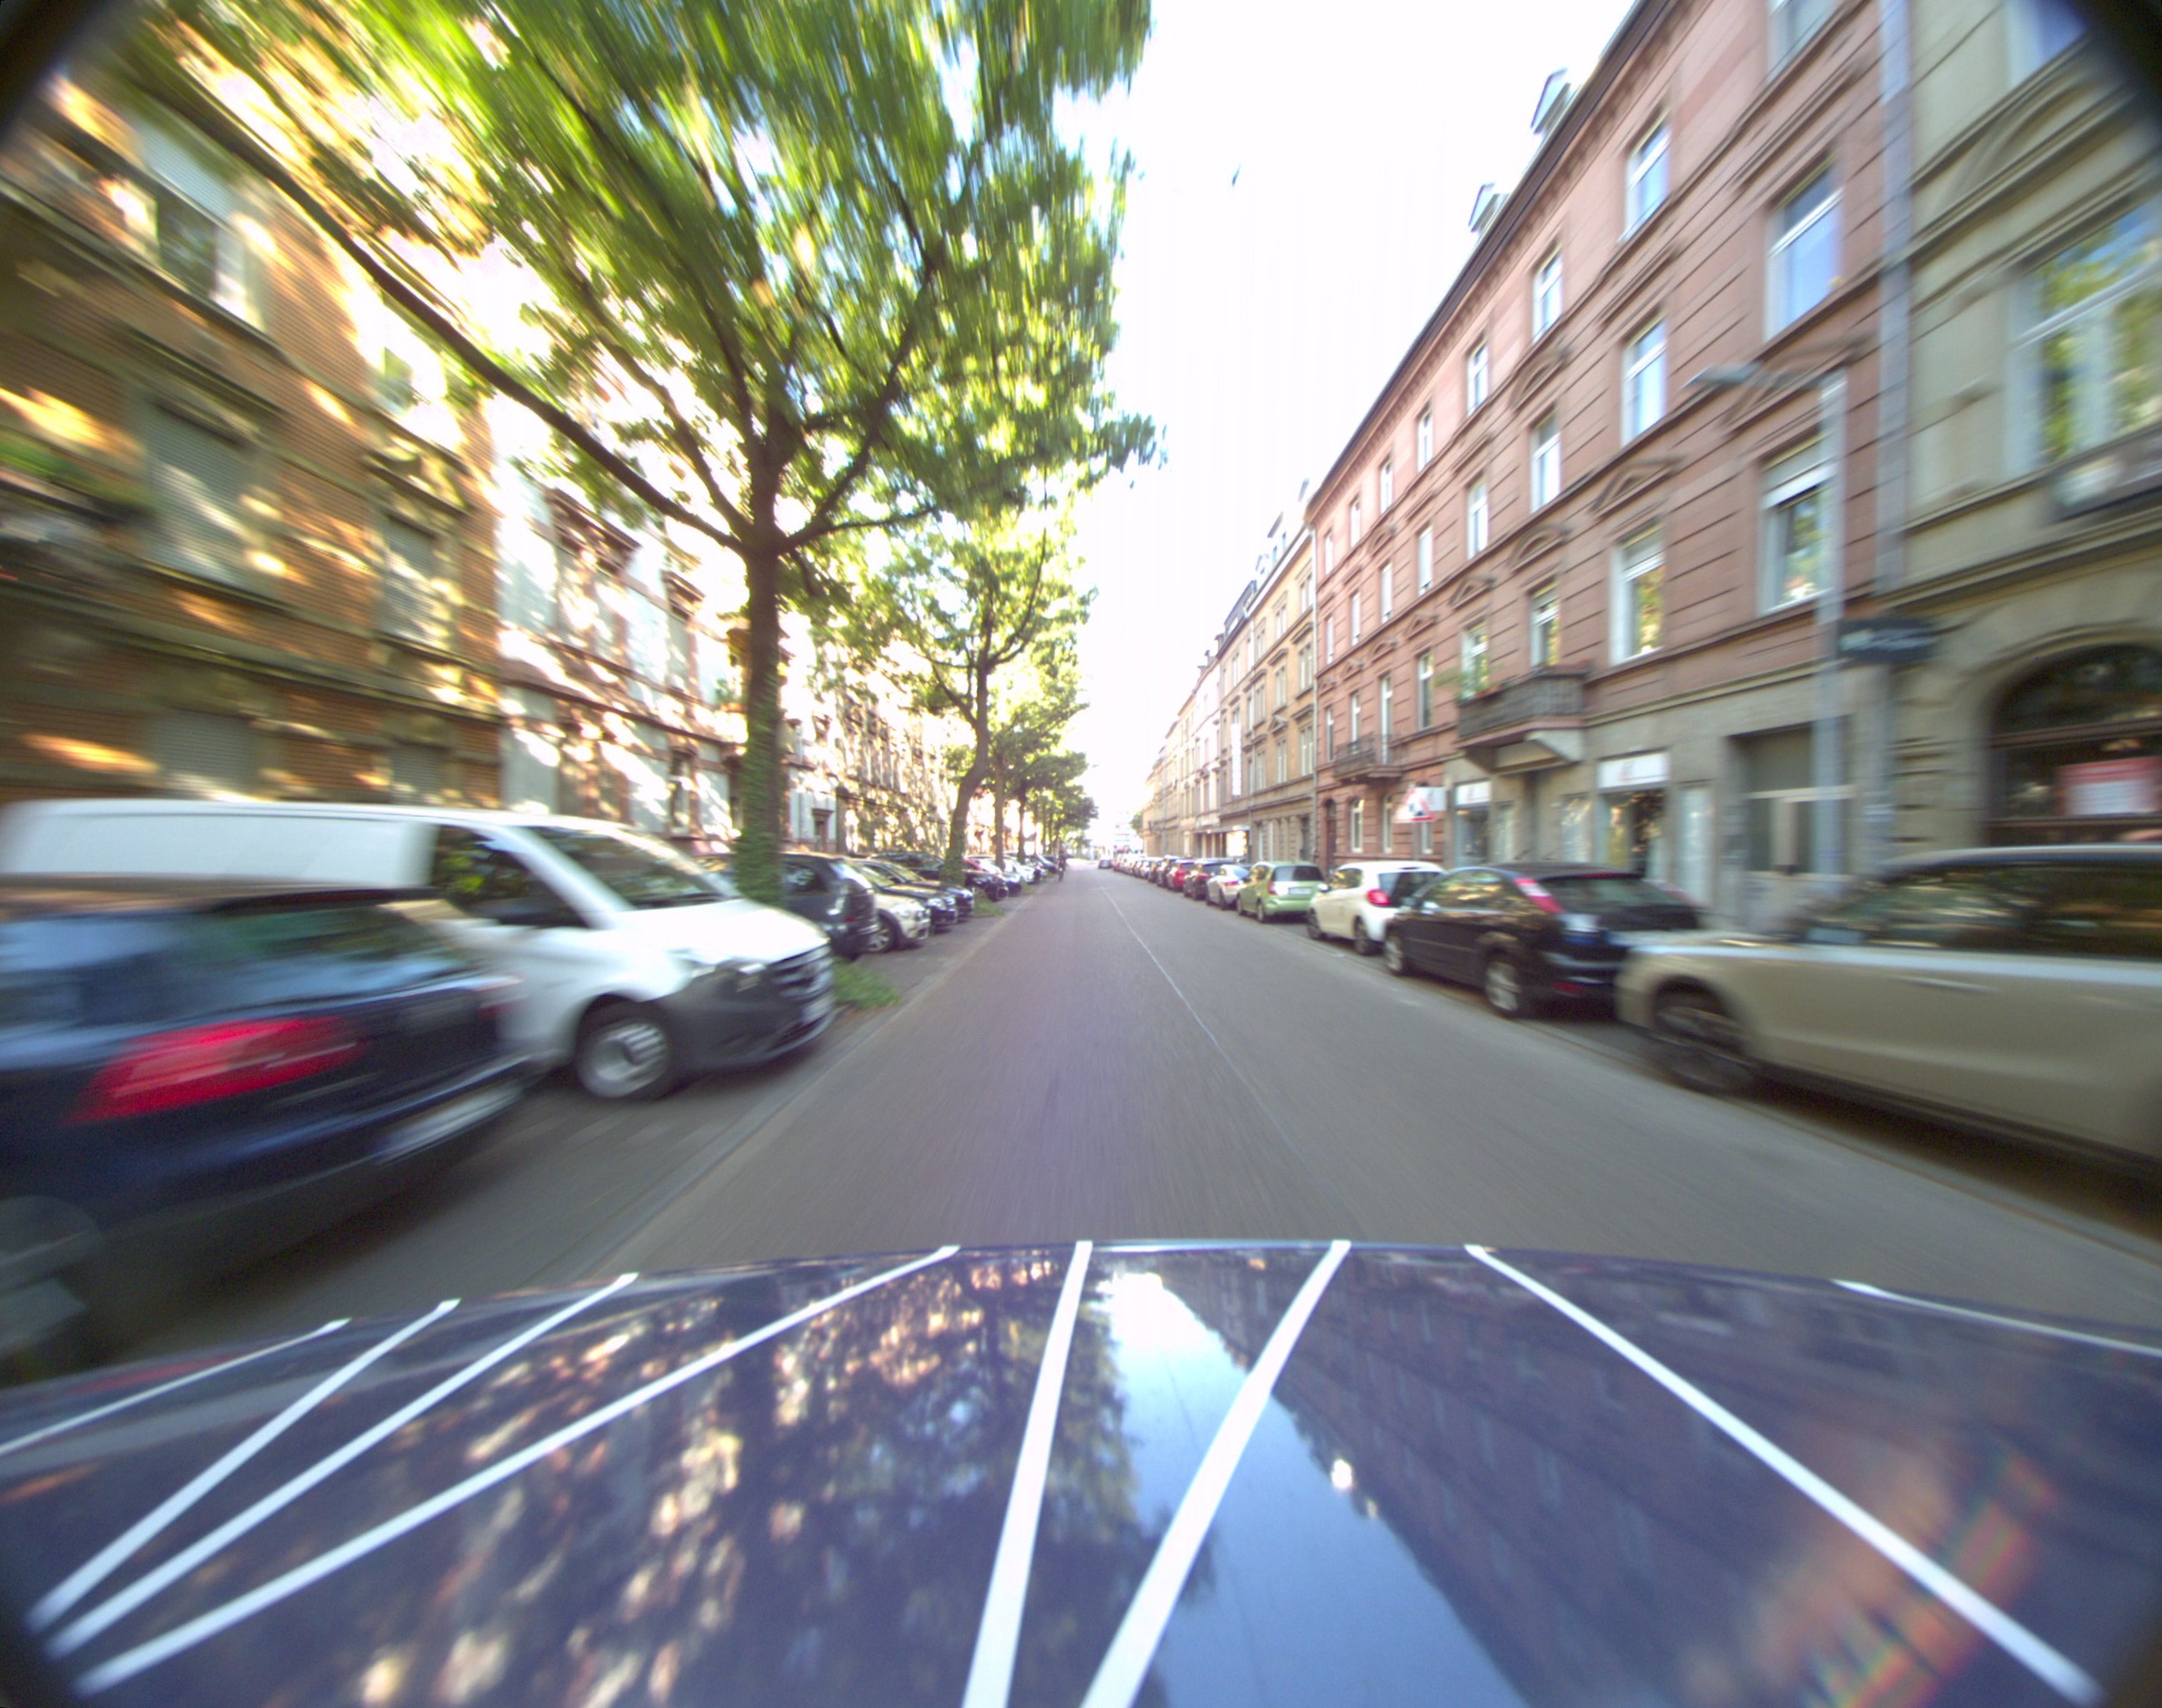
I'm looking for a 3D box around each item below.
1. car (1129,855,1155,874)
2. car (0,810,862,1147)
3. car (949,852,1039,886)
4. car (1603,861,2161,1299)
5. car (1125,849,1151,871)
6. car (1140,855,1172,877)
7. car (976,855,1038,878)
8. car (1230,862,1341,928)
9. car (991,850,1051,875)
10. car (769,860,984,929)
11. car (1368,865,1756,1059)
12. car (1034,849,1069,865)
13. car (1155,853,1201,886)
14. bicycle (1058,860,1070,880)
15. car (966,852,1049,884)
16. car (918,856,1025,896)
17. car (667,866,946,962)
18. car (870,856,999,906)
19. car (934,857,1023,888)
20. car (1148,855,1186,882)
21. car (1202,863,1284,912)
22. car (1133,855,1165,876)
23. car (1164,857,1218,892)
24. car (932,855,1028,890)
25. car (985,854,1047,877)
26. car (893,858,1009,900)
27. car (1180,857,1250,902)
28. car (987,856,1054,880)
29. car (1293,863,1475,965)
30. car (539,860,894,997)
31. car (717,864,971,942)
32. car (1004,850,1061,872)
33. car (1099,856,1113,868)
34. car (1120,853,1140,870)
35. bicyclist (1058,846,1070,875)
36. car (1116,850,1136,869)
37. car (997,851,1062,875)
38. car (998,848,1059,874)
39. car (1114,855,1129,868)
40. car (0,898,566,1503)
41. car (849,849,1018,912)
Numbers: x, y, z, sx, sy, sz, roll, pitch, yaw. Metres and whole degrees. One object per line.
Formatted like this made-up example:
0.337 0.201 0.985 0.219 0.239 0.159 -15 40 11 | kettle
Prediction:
5.042 0.830 63.064 1.751 1.464 4.244 0 0 -1 | car
-4.468 0.672 5.448 5.105 1.930 2.157 0 4 0 | car
-4.527 0.772 40.028 4.488 1.647 1.891 -1 2 -1 | car
4.873 0.880 3.675 1.652 1.565 4.047 -3 0 -4 | car
5.105 0.523 68.590 1.847 1.822 4.606 -1 0 -1 | car
5.164 0.819 52.544 1.761 1.464 4.087 0 0 -1 | car
-4.868 0.817 50.307 3.998 1.486 1.686 0 0 -3 | car
4.959 0.931 18.957 1.709 1.430 3.959 0 0 0 | car
-4.346 0.631 55.568 4.135 1.778 1.945 0 0 2 | car
-4.762 0.931 18.177 4.563 1.520 2.000 0 0 2 | car
4.782 0.930 8.350 1.652 1.464 4.000 -3 0 0 | car
-4.121 0.436 107.663 4.699 1.966 1.925 4 0 1 | car
4.994 0.757 39.582 1.825 1.591 4.313 -2 0 0 | car
-1.114 0.997 49.042 0.712 1.252 1.887 0 0 0 | bicycle
-4.104 0.772 42.973 4.486 1.647 1.891 -1 2 2 | car
-4.316 0.845 30.472 3.997 1.380 1.677 2 0 -1 | car
-4.564 0.975 13.065 4.115 1.494 1.811 0 0 1 | car
-4.769 0.862 25.166 3.998 1.581 1.782 0 0 -3 | car
-5.003 0.883 37.522 4.110 1.461 1.801 -1 0 1 | car
5.061 0.828 45.218 1.867 1.464 4.489 0 0 1 | car
4.926 0.983 23.637 1.709 1.315 4.101 0 0 0 | car
5.070 0.828 56.956 1.891 1.436 4.541 -1 0 -1 | car
4.992 0.907 35.058 1.825 1.417 4.313 -2 0 0 | car
-4.554 0.833 34.750 4.234 1.527 1.800 -1 0 -3 | car
-4.457 0.788 52.796 4.156 1.446 1.936 1 0 -1 | car
-4.666 0.889 27.762 3.998 1.454 1.782 0 0 -3 | car
4.923 0.889 28.511 1.825 1.468 4.423 -2 0 0 | car
-3.774 0.848 47.688 3.997 1.448 1.687 0 0 1 | car
5.103 0.923 13.394 1.586 1.464 4.000 0 0 0 | car
-4.651 0.910 10.154 3.895 1.639 1.724 0 0 -2 | car
-4.786 0.976 15.865 4.671 1.494 1.932 0 0 0 | car
-4.261 0.608 66.683 4.684 1.879 1.904 1 0 -21 | car
3.457 1.141 106.540 1.868 1.620 3.825 -1 0 2 | car
5.092 0.752 79.716 1.771 1.648 4.157 -1 0 0 | car
-1.096 0.434 49.084 0.712 1.865 1.120 0 1 0 | bicyclist
5.087 0.608 85.888 1.947 2.045 4.744 -1 0 0 | car
-4.023 0.713 59.885 4.933 1.623 2.078 2 0 -3 | car
-4.333 0.556 62.949 4.933 1.890 2.175 2 0 -3 | car
4.848 0.846 91.419 1.641 1.482 3.825 -1 0 0 | car
-4.467 0.946 2.675 4.000 1.466 1.780 1 0 -7 | car
-4.258 0.756 22.487 4.658 1.692 1.881 1 0 -3 | car
